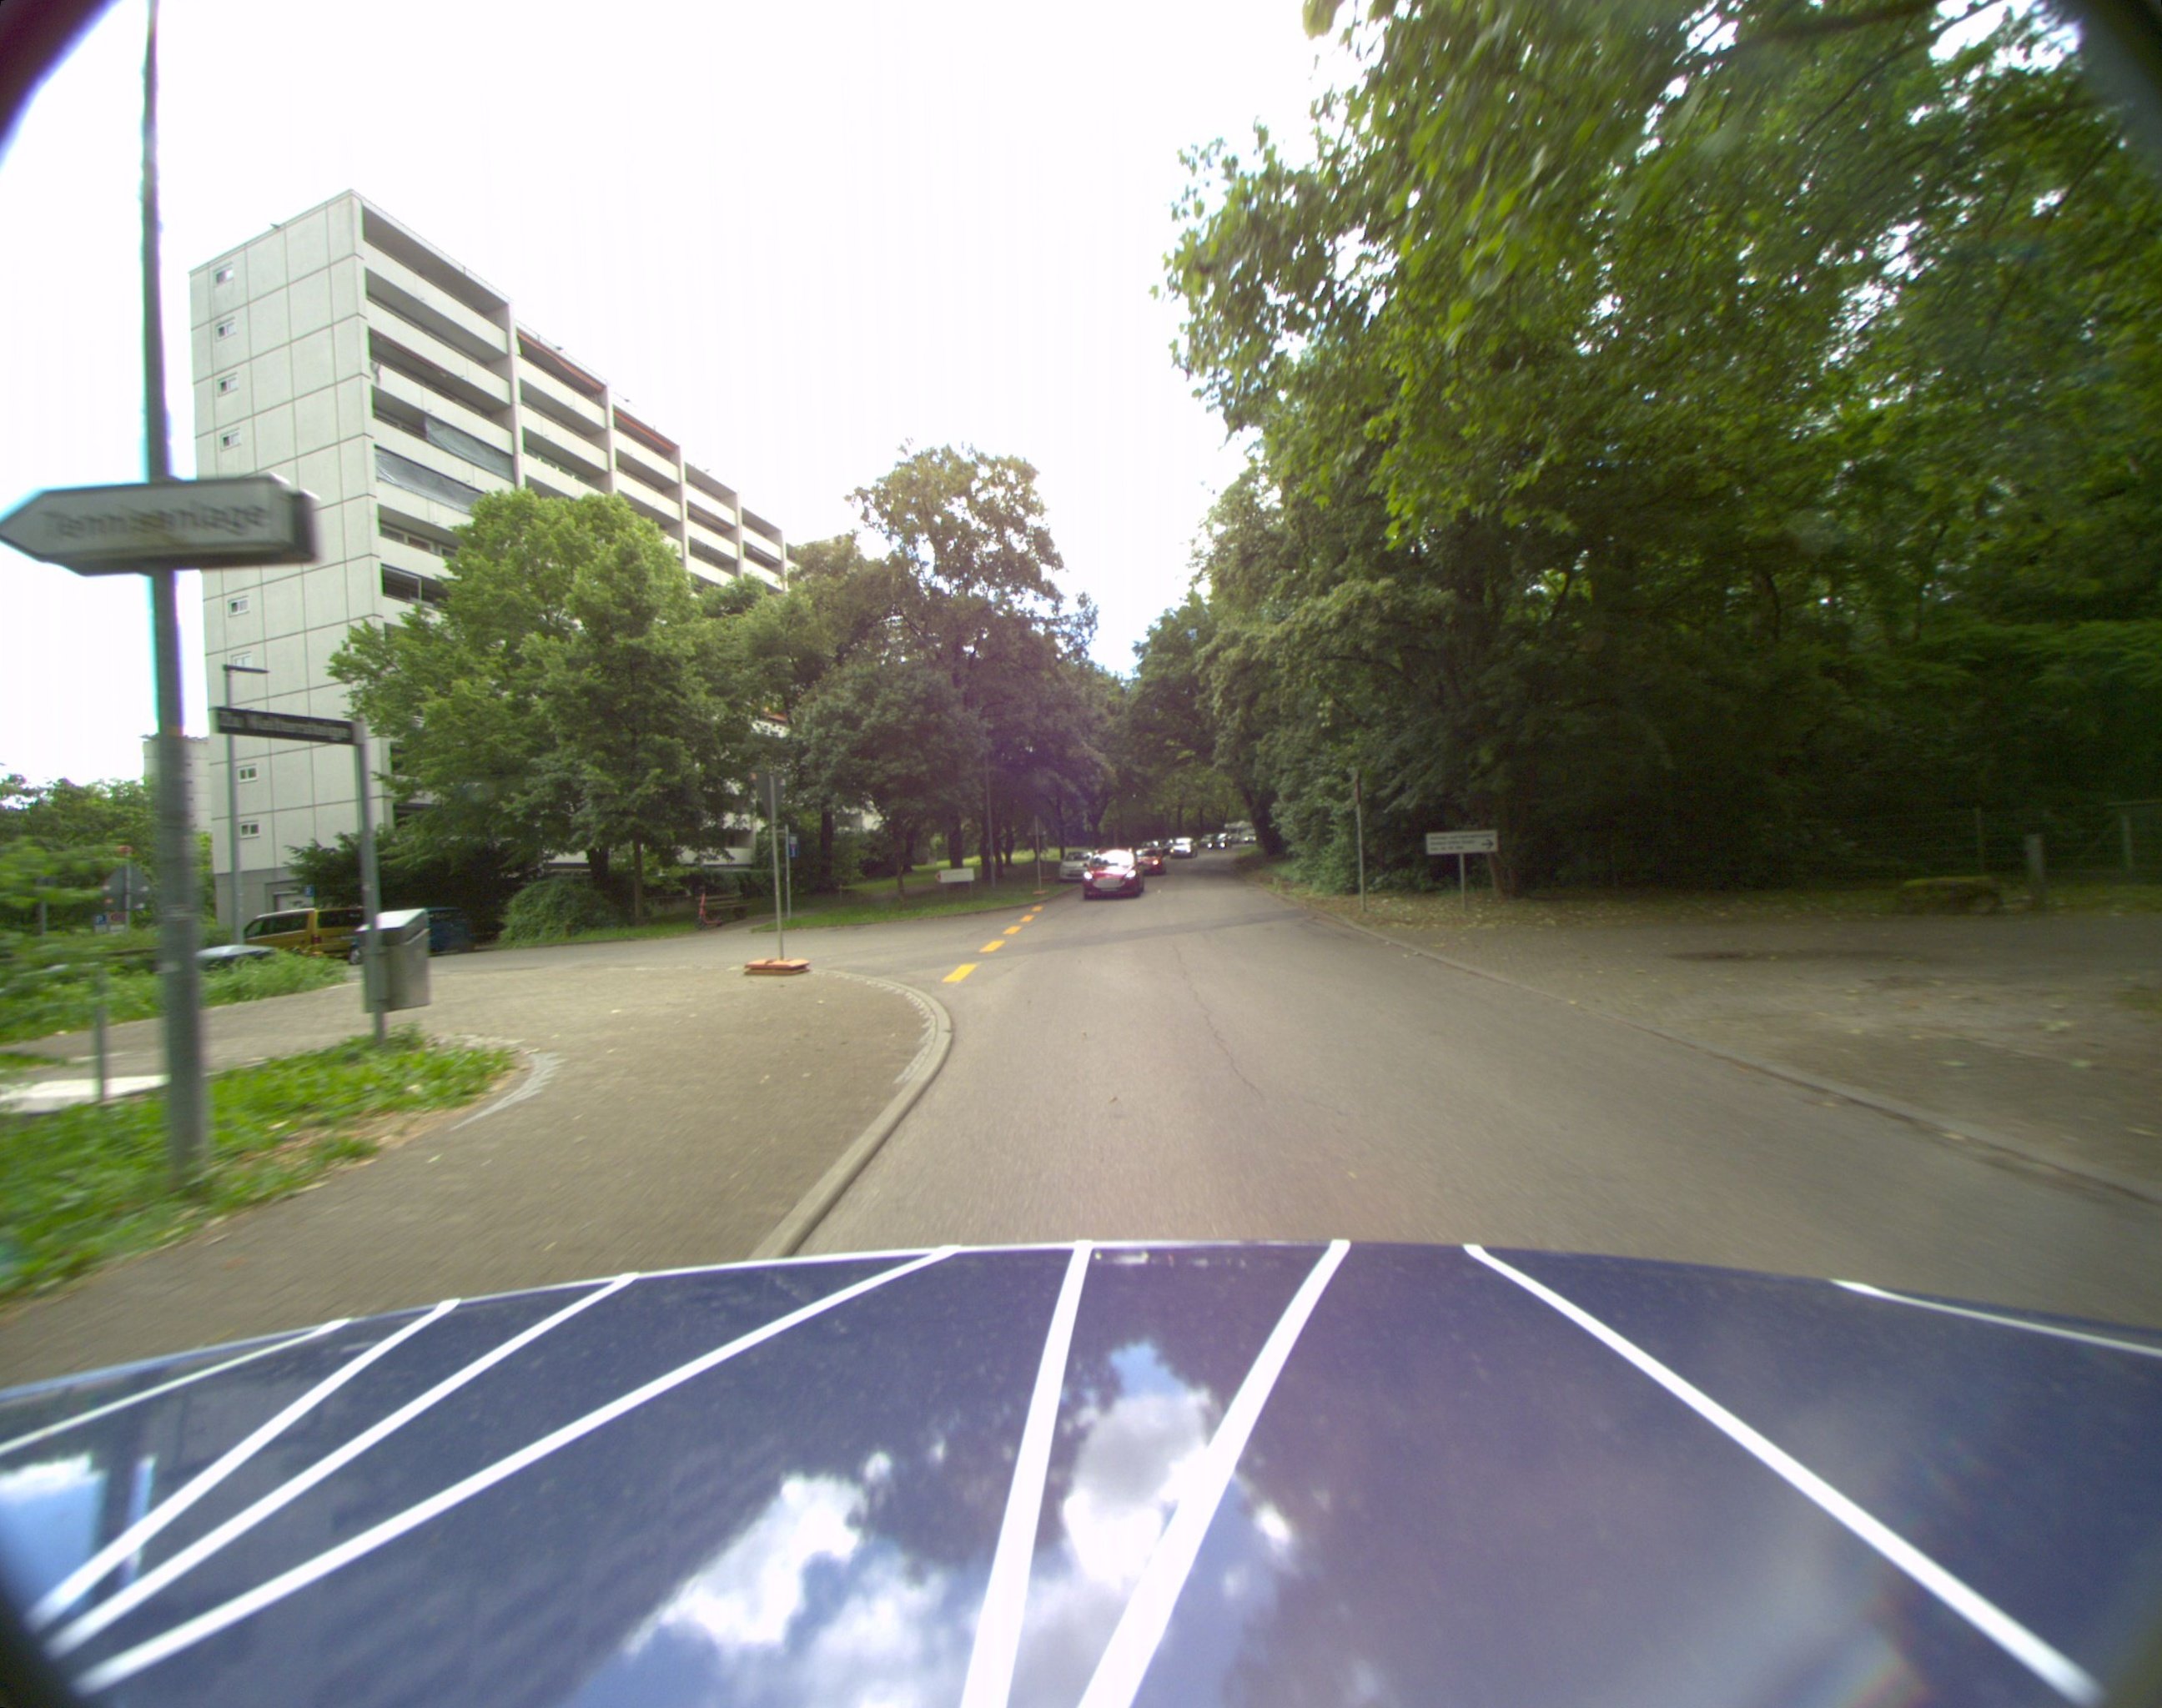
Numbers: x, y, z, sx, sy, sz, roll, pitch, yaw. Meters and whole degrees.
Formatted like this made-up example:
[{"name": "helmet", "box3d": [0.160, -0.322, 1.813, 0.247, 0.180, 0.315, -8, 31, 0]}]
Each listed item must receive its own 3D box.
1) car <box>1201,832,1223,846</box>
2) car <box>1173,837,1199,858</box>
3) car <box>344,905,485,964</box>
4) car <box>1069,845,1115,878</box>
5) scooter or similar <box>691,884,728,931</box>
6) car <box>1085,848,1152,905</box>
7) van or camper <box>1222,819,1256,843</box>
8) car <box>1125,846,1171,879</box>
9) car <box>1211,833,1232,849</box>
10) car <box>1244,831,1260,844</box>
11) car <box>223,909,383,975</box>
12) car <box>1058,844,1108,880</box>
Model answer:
[{"name": "car", "box3d": [16.203, -1.881, 93.807, 1.690, 1.474, 4.111, -3, 1, 22]}, {"name": "car", "box3d": [8.733, -0.564, 62.716, 1.653, 1.559, 4.048, -3, 1, 14]}, {"name": "car", "box3d": [-21.044, 2.541, 24.015, 3.521, 1.561, 1.834, -4, 1, 21]}, {"name": "car", "box3d": [0.669, 0.377, 41.620, 1.777, 1.514, 4.185, -3, 1, 10]}, {"name": "scooter or similar", "box3d": [-11.028, 1.563, 22.557, 0.283, 1.279, 1.109, -4, 1, 11]}, {"name": "car", "box3d": [1.261, 0.697, 26.161, 2.003, 1.599, 4.677, -4, 1, 2]}, {"name": "van or camper", "box3d": [21.745, -3.193, 104.264, 2.426, 2.963, 7.404, -3, 1, 29]}, {"name": "car", "box3d": [3.619, 0.397, 40.307, 1.956, 1.464, 4.679, -3, 1, 9]}, {"name": "car", "box3d": [14.997, -1.434, 80.815, 1.766, 1.559, 4.049, -3, 1, 16]}, {"name": "car", "box3d": [22.147, -2.131, 98.255, 1.766, 1.559, 4.049, -3, 1, 16]}, {"name": "car", "box3d": [-25.992, 2.937, 25.401, 4.402, 1.838, 1.834, -4, 1, 17]}, {"name": "car", "box3d": [0.140, 0.340, 36.867, 1.777, 1.514, 3.782, -3, 1, 9]}]
